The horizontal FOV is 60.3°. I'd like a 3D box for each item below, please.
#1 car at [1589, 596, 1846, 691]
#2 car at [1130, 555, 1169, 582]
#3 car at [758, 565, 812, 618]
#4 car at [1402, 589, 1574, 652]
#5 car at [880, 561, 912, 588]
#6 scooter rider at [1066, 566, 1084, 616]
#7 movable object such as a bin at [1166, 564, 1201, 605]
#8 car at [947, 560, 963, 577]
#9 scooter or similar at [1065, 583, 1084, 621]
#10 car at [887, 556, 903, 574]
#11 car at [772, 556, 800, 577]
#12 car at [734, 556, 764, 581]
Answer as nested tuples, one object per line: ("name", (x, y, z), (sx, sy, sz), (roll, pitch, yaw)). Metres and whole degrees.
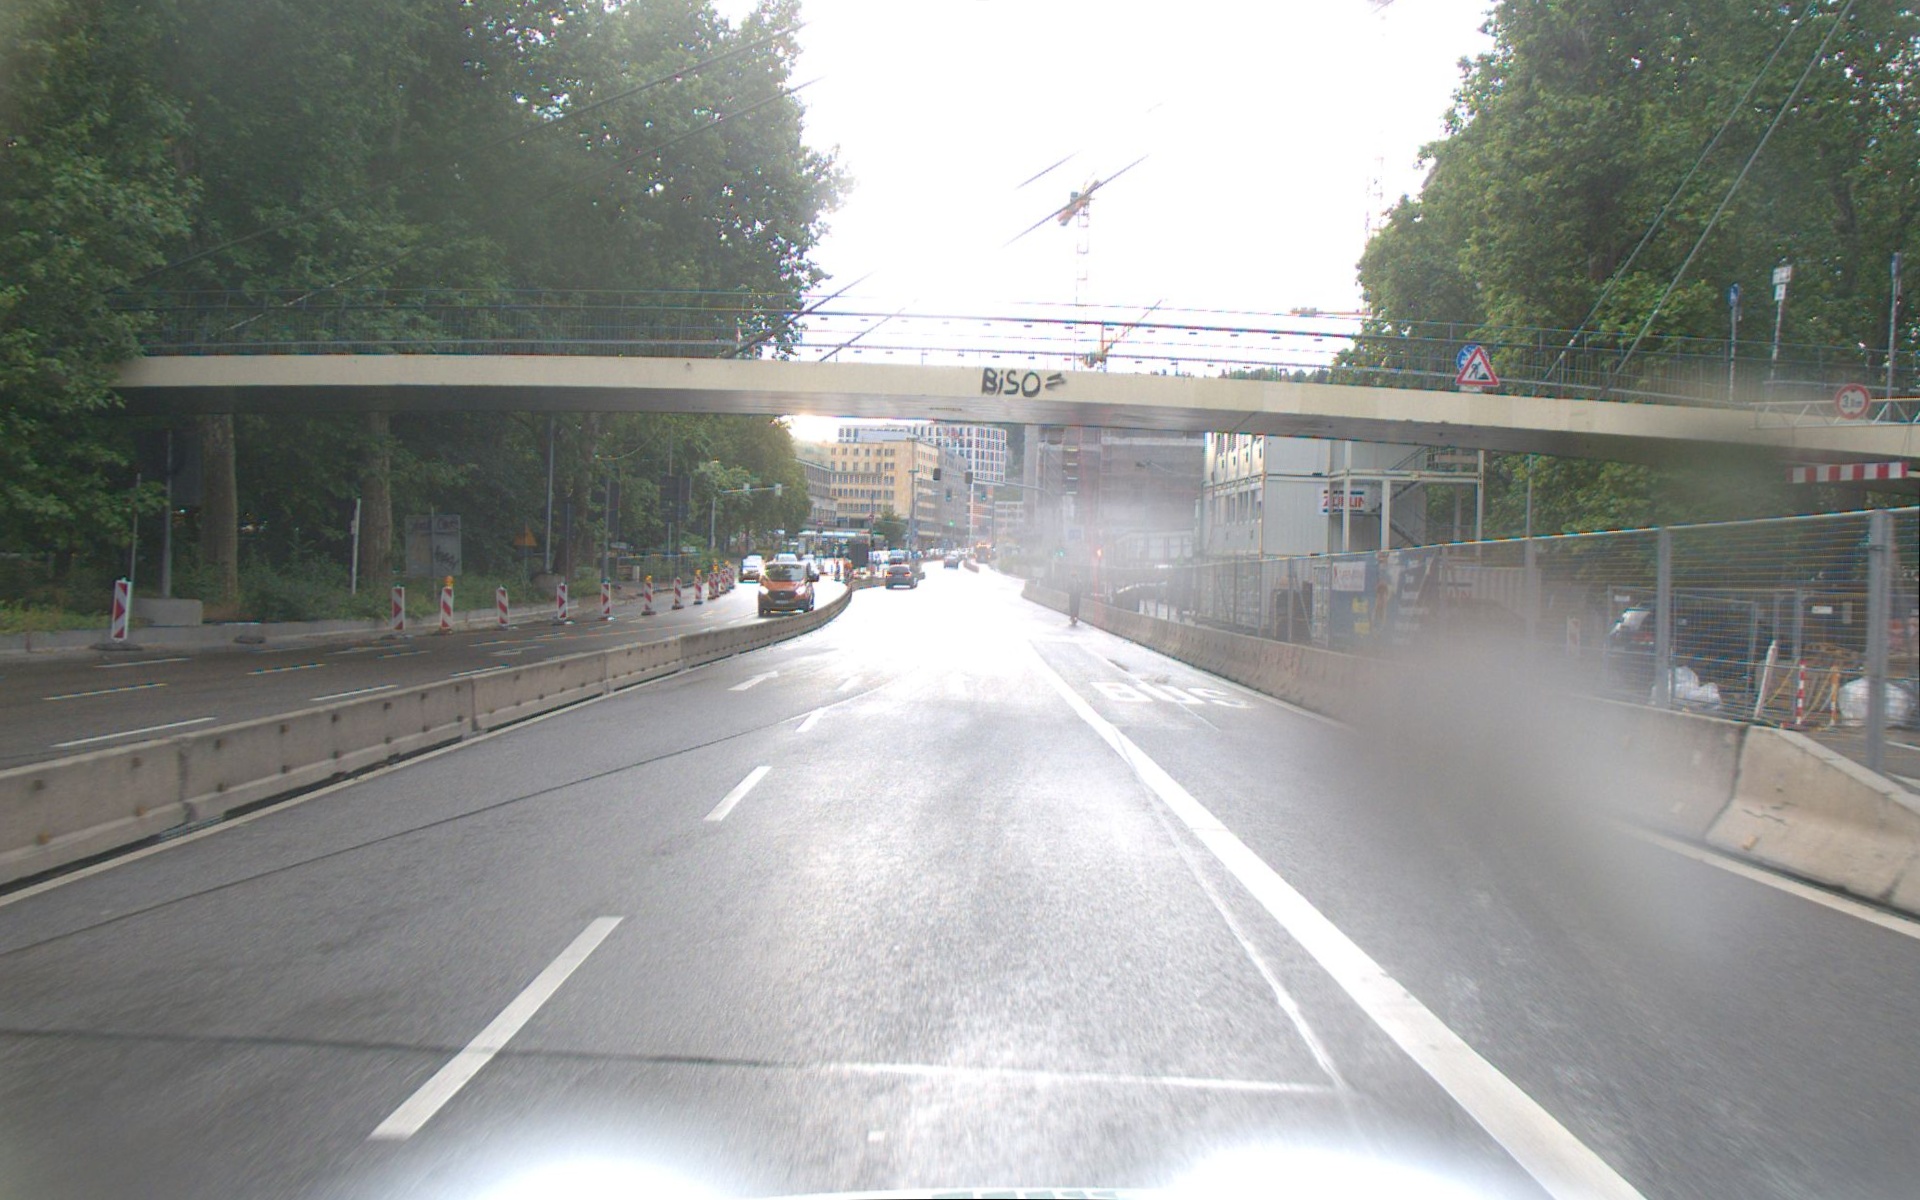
("car", (15.604, 0.872, 34.189), (4.412, 1.758, 1.998), (2, 1, -6))
("car", (14.894, -2.476, 130.253), (1.875, 2.009, 5.157), (2, 2, -6))
("car", (-6.870, -0.306, 64.924), (1.992, 1.970, 5.037), (0, -1, -6))
("car", (15.497, 0.599, 48.692), (4.452, 1.657, 1.787), (1, 2, -3))
("car", (-4.037, -1.581, 103.645), (1.864, 1.554, 4.174), (0, -1, -4))
("scooter rider", (4.293, -0.348, 61.942), (0.585, 1.816, 0.997), (2, 1, 1))
("movable object such as a bin", (12.542, -0.876, 92.831), (1.437, 2.241, 1.256), (1, 3, -25))
("car", (-0.600, -3.910, 205.778), (1.952, 2.049, 4.000), (0, -1, 0))
("scooter or similar", (4.280, 0.074, 62.003), (0.585, 1.342, 1.668), (2, 1, 1))
("car", (-7.953, -4.294, 202.868), (1.864, 2.119, 4.174), (0, -1, -4))
("car", (-14.717, -2.836, 140.425), (1.990, 1.682, 4.910), (-1, 1, -2))
("car", (-14.993, -2.231, 117.396), (1.993, 1.682, 4.311), (0, 2, -9))
